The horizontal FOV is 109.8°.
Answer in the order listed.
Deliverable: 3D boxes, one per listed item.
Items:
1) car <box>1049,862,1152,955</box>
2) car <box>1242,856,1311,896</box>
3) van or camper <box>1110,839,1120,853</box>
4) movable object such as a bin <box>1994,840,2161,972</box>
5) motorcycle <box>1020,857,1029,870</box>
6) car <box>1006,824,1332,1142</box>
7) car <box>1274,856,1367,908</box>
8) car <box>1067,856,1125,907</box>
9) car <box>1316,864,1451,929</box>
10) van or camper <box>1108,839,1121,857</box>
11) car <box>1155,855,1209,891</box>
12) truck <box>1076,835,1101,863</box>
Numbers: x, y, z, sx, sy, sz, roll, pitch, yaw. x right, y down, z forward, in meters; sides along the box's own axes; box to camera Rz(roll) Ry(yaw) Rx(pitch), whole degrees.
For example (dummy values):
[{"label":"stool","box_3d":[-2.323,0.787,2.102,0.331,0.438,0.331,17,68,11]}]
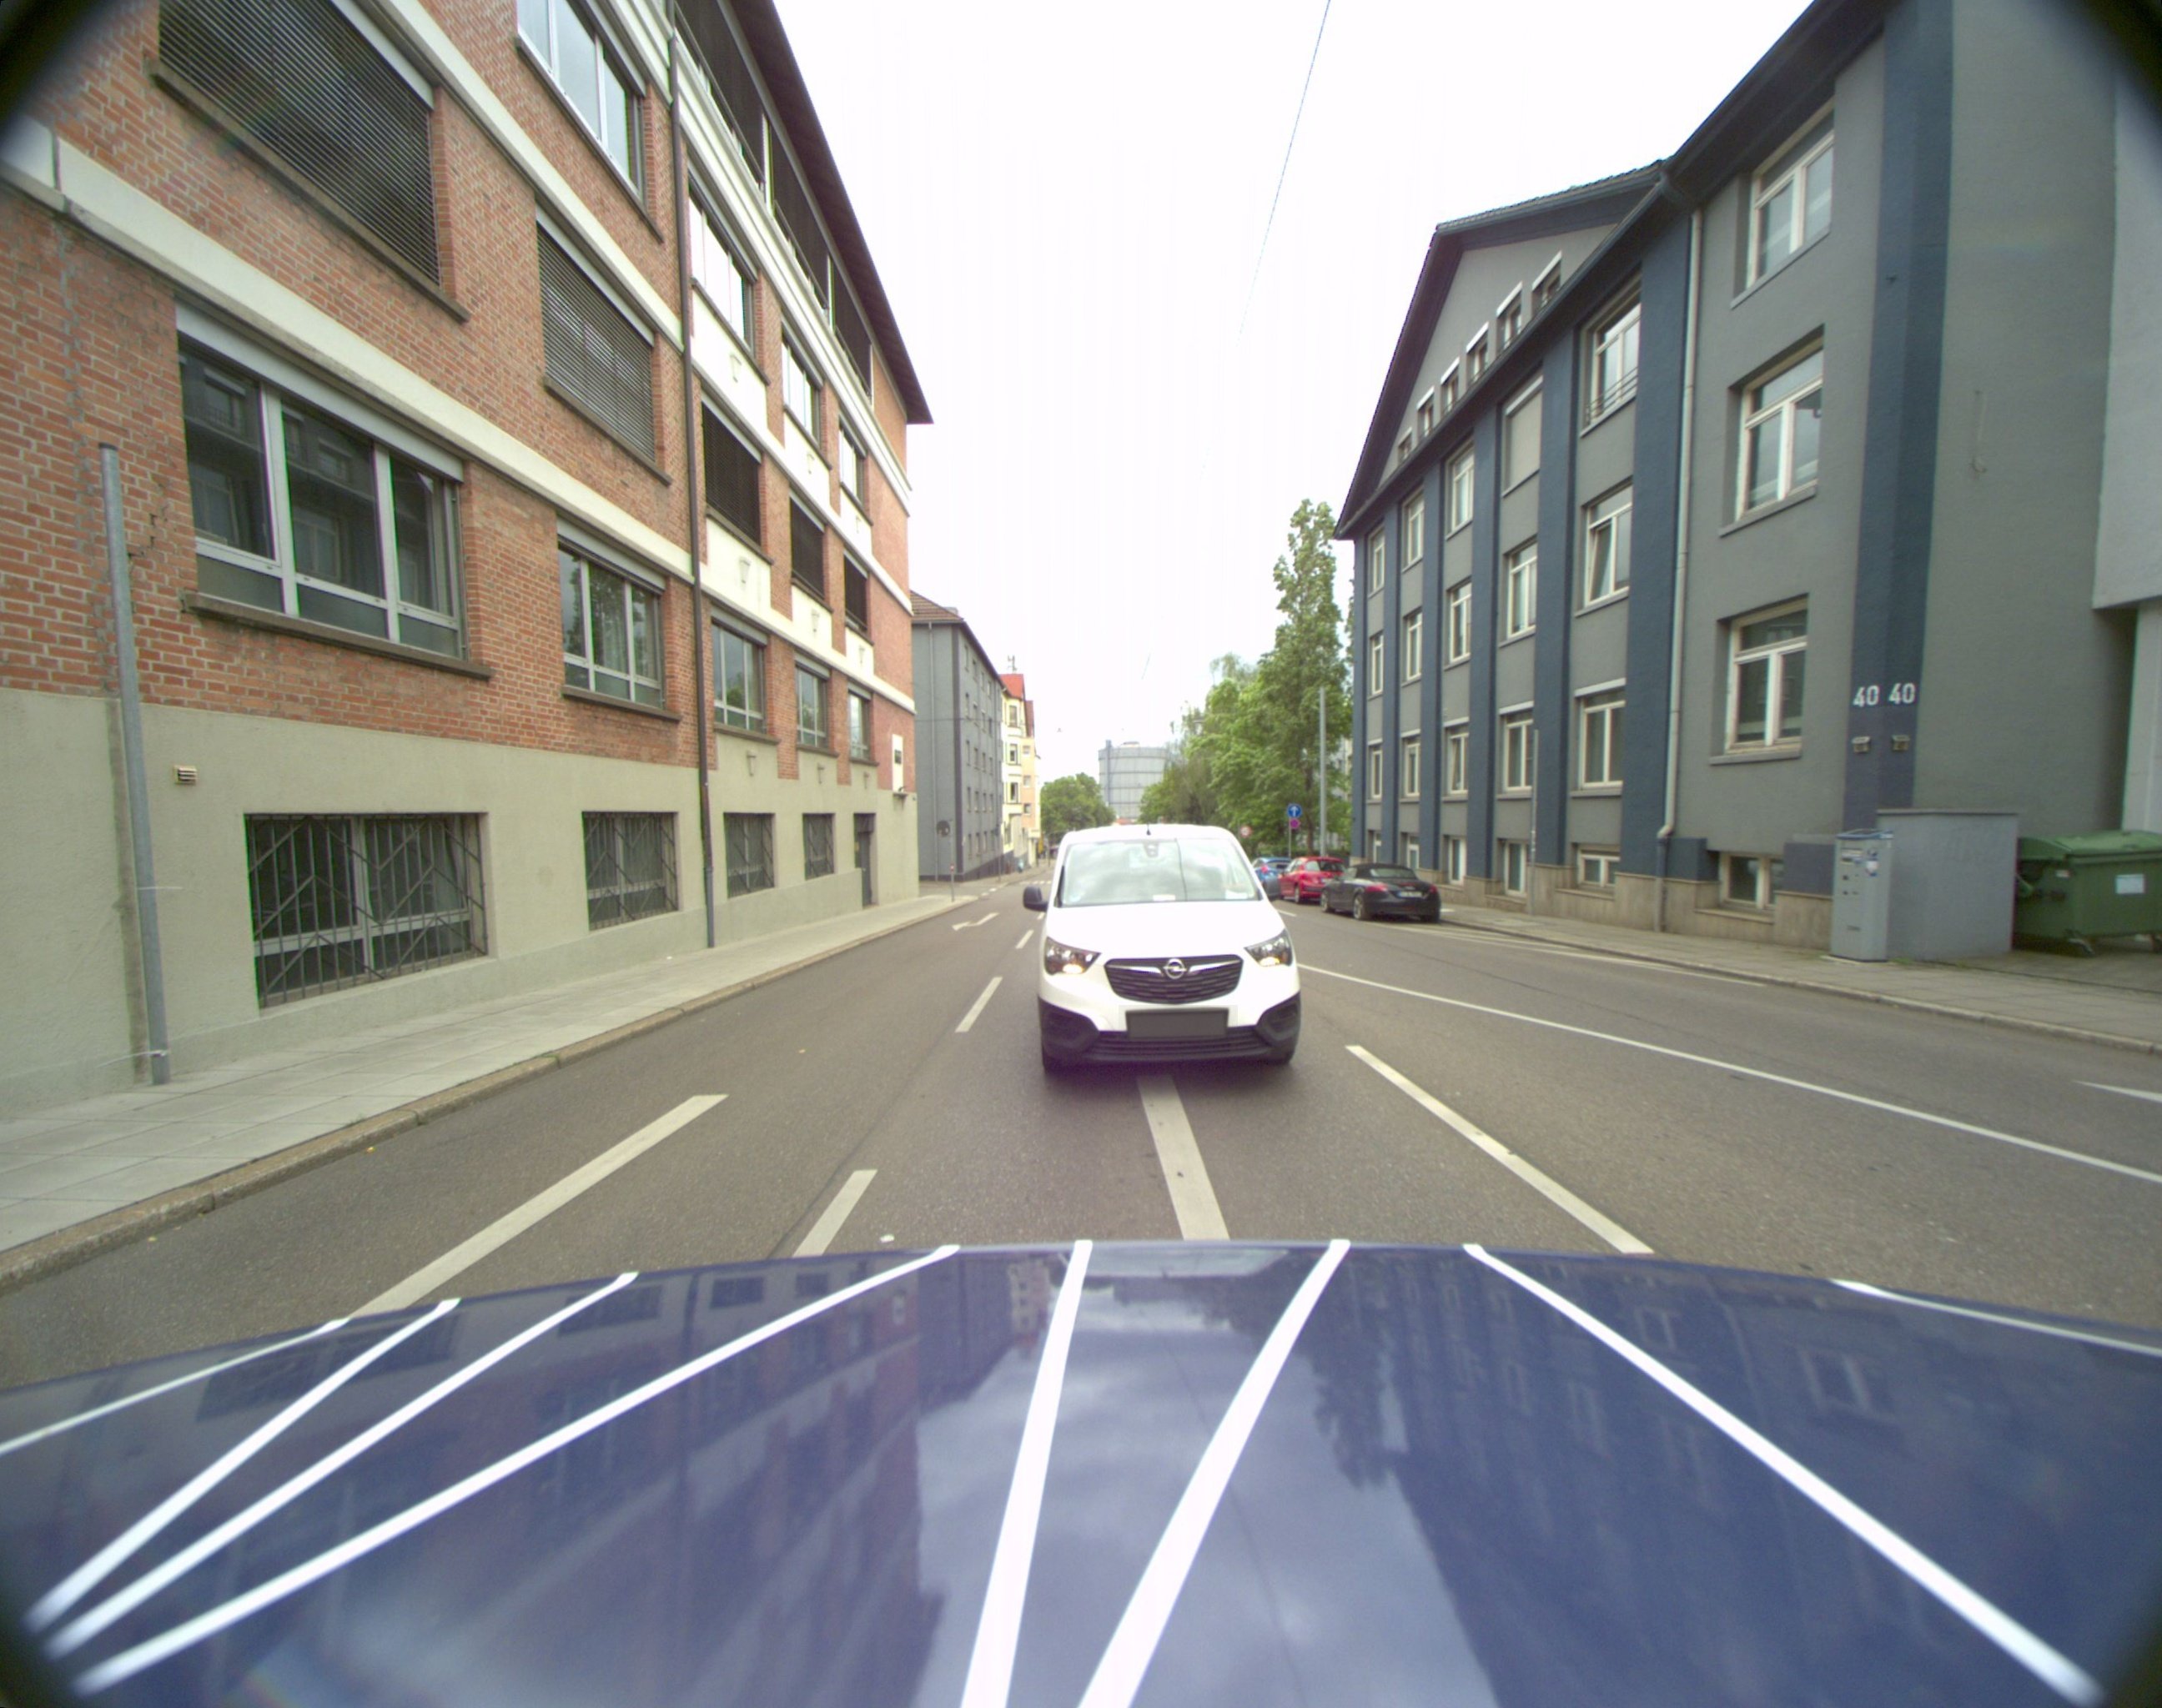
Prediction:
[{"label":"car","box_3d":[0.381,0.938,14.581,1.724,1.486,3.727,1,0,2]},{"label":"car","box_3d":[7.568,0.801,29.778,1.724,1.445,3.727,1,0,0]},{"label":"van or camper","box_3d":[6.751,-1.530,149.788,1.914,2.754,5.925,1,0,2]},{"label":"movable object such as a bin","box_3d":[12.087,0.593,9.109,1.267,1.448,0.784,-3,2,4]},{"label":"motorcycle","box_3d":[-5.081,0.891,68.550,0.566,1.105,1.653,4,0,2]},{"label":"car","box_3d":[0.563,0.751,6.921,1.840,1.797,4.939,-2,0,1]},{"label":"car","box_3d":[7.538,0.818,24.311,1.819,1.465,3.869,2,0,2]},{"label":"car","box_3d":[0.494,0.816,24.522,1.724,1.486,3.727,1,0,2]},{"label":"car","box_3d":[7.193,0.949,18.523,1.724,1.319,4.041,2,0,1]},{"label":"van or camper","box_3d":[5.205,-1.001,119.938,1.914,2.754,5.925,1,0,2]},{"label":"car","box_3d":[4.327,0.776,33.166,1.790,1.410,4.670,2,0,1]},{"label":"truck","box_3d":[1.035,-0.653,98.483,2.980,3.394,9.358,-2,0,1]}]
